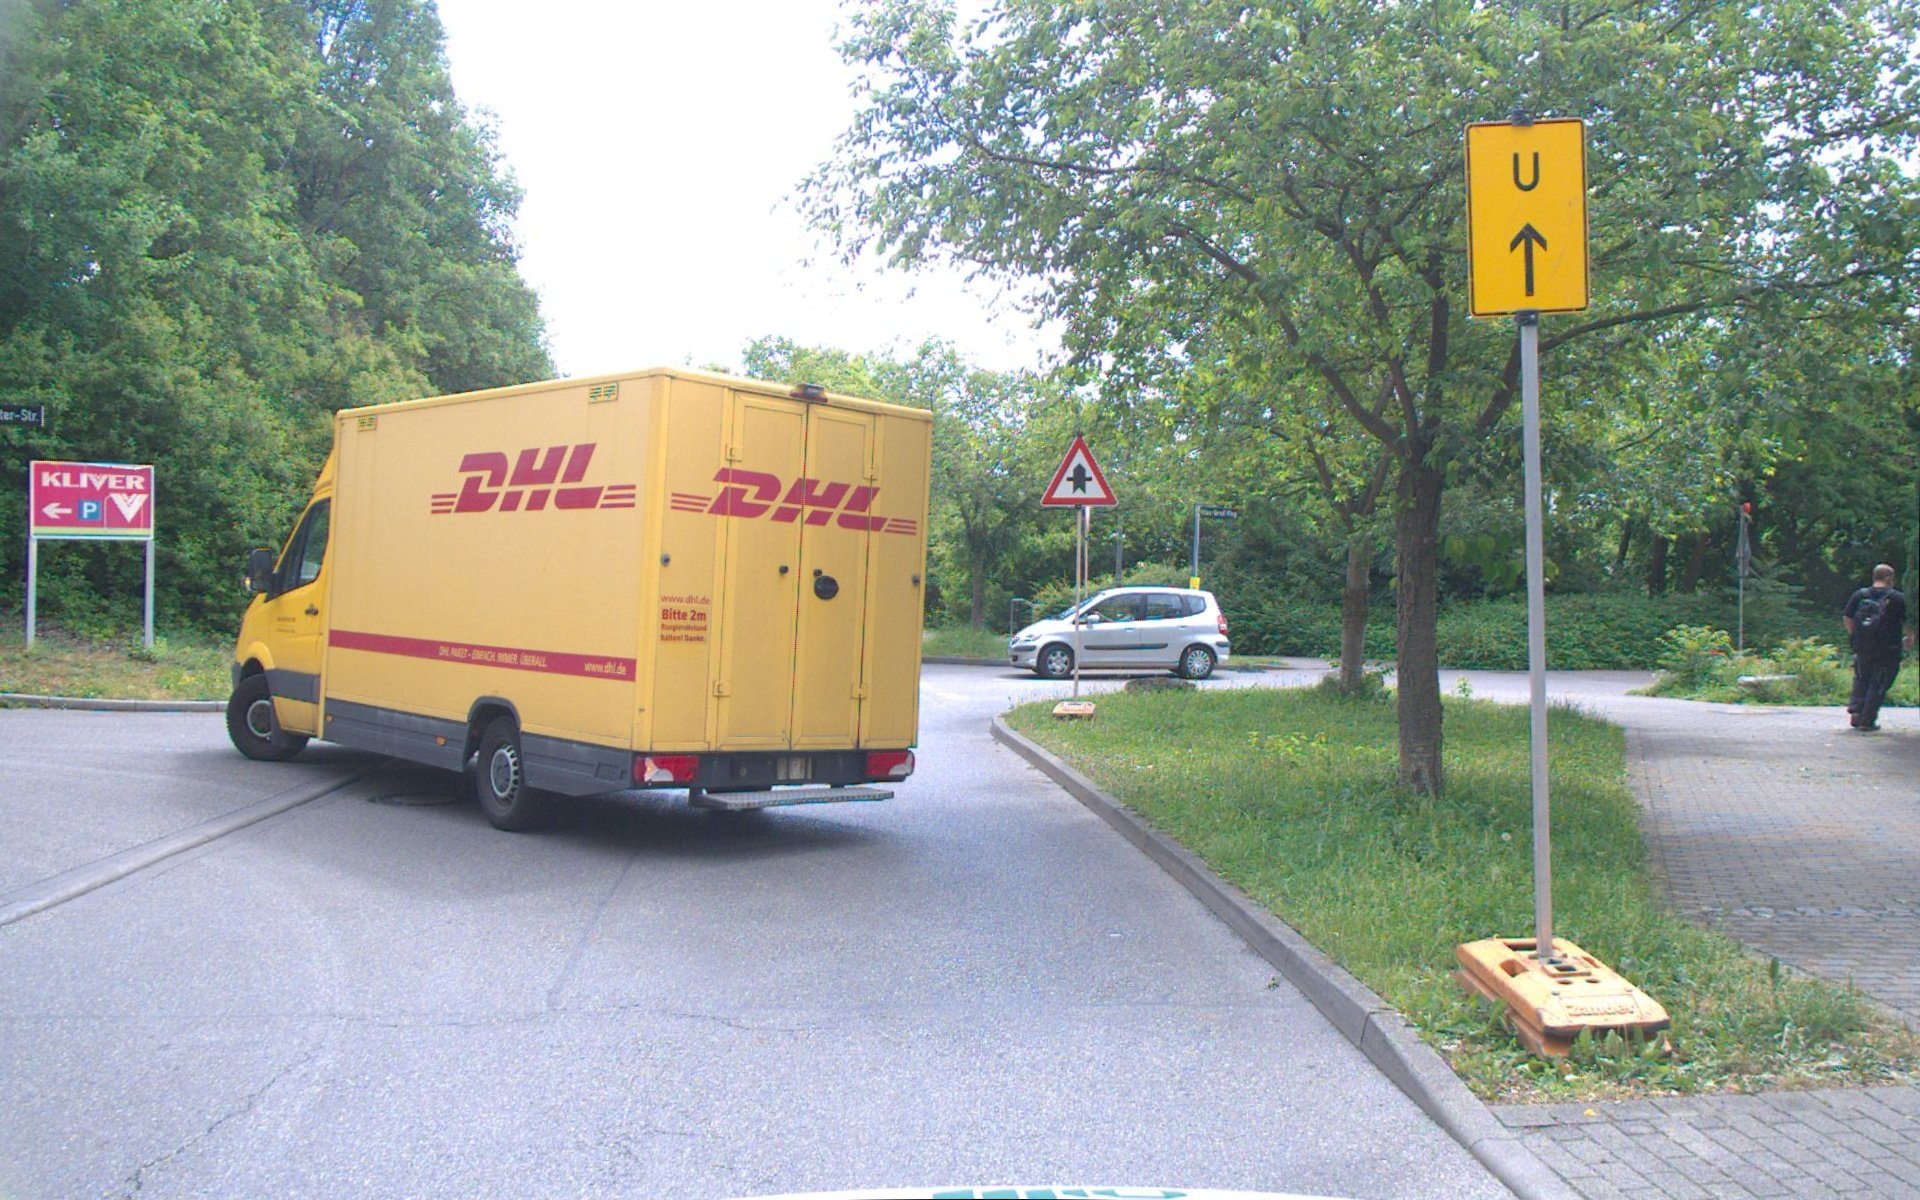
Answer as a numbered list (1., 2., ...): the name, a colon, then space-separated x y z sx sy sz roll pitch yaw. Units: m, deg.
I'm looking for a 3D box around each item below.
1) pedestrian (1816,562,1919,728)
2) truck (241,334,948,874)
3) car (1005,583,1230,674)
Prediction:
1. pedestrian: 9.954 0.479 18.008 0.816 1.767 0.785 1 0 -6
2. truck: -3.006 -0.020 11.940 2.213 2.857 6.474 0 1 -41
3. car: 2.653 0.474 28.372 3.570 1.481 1.845 1 0 -6
